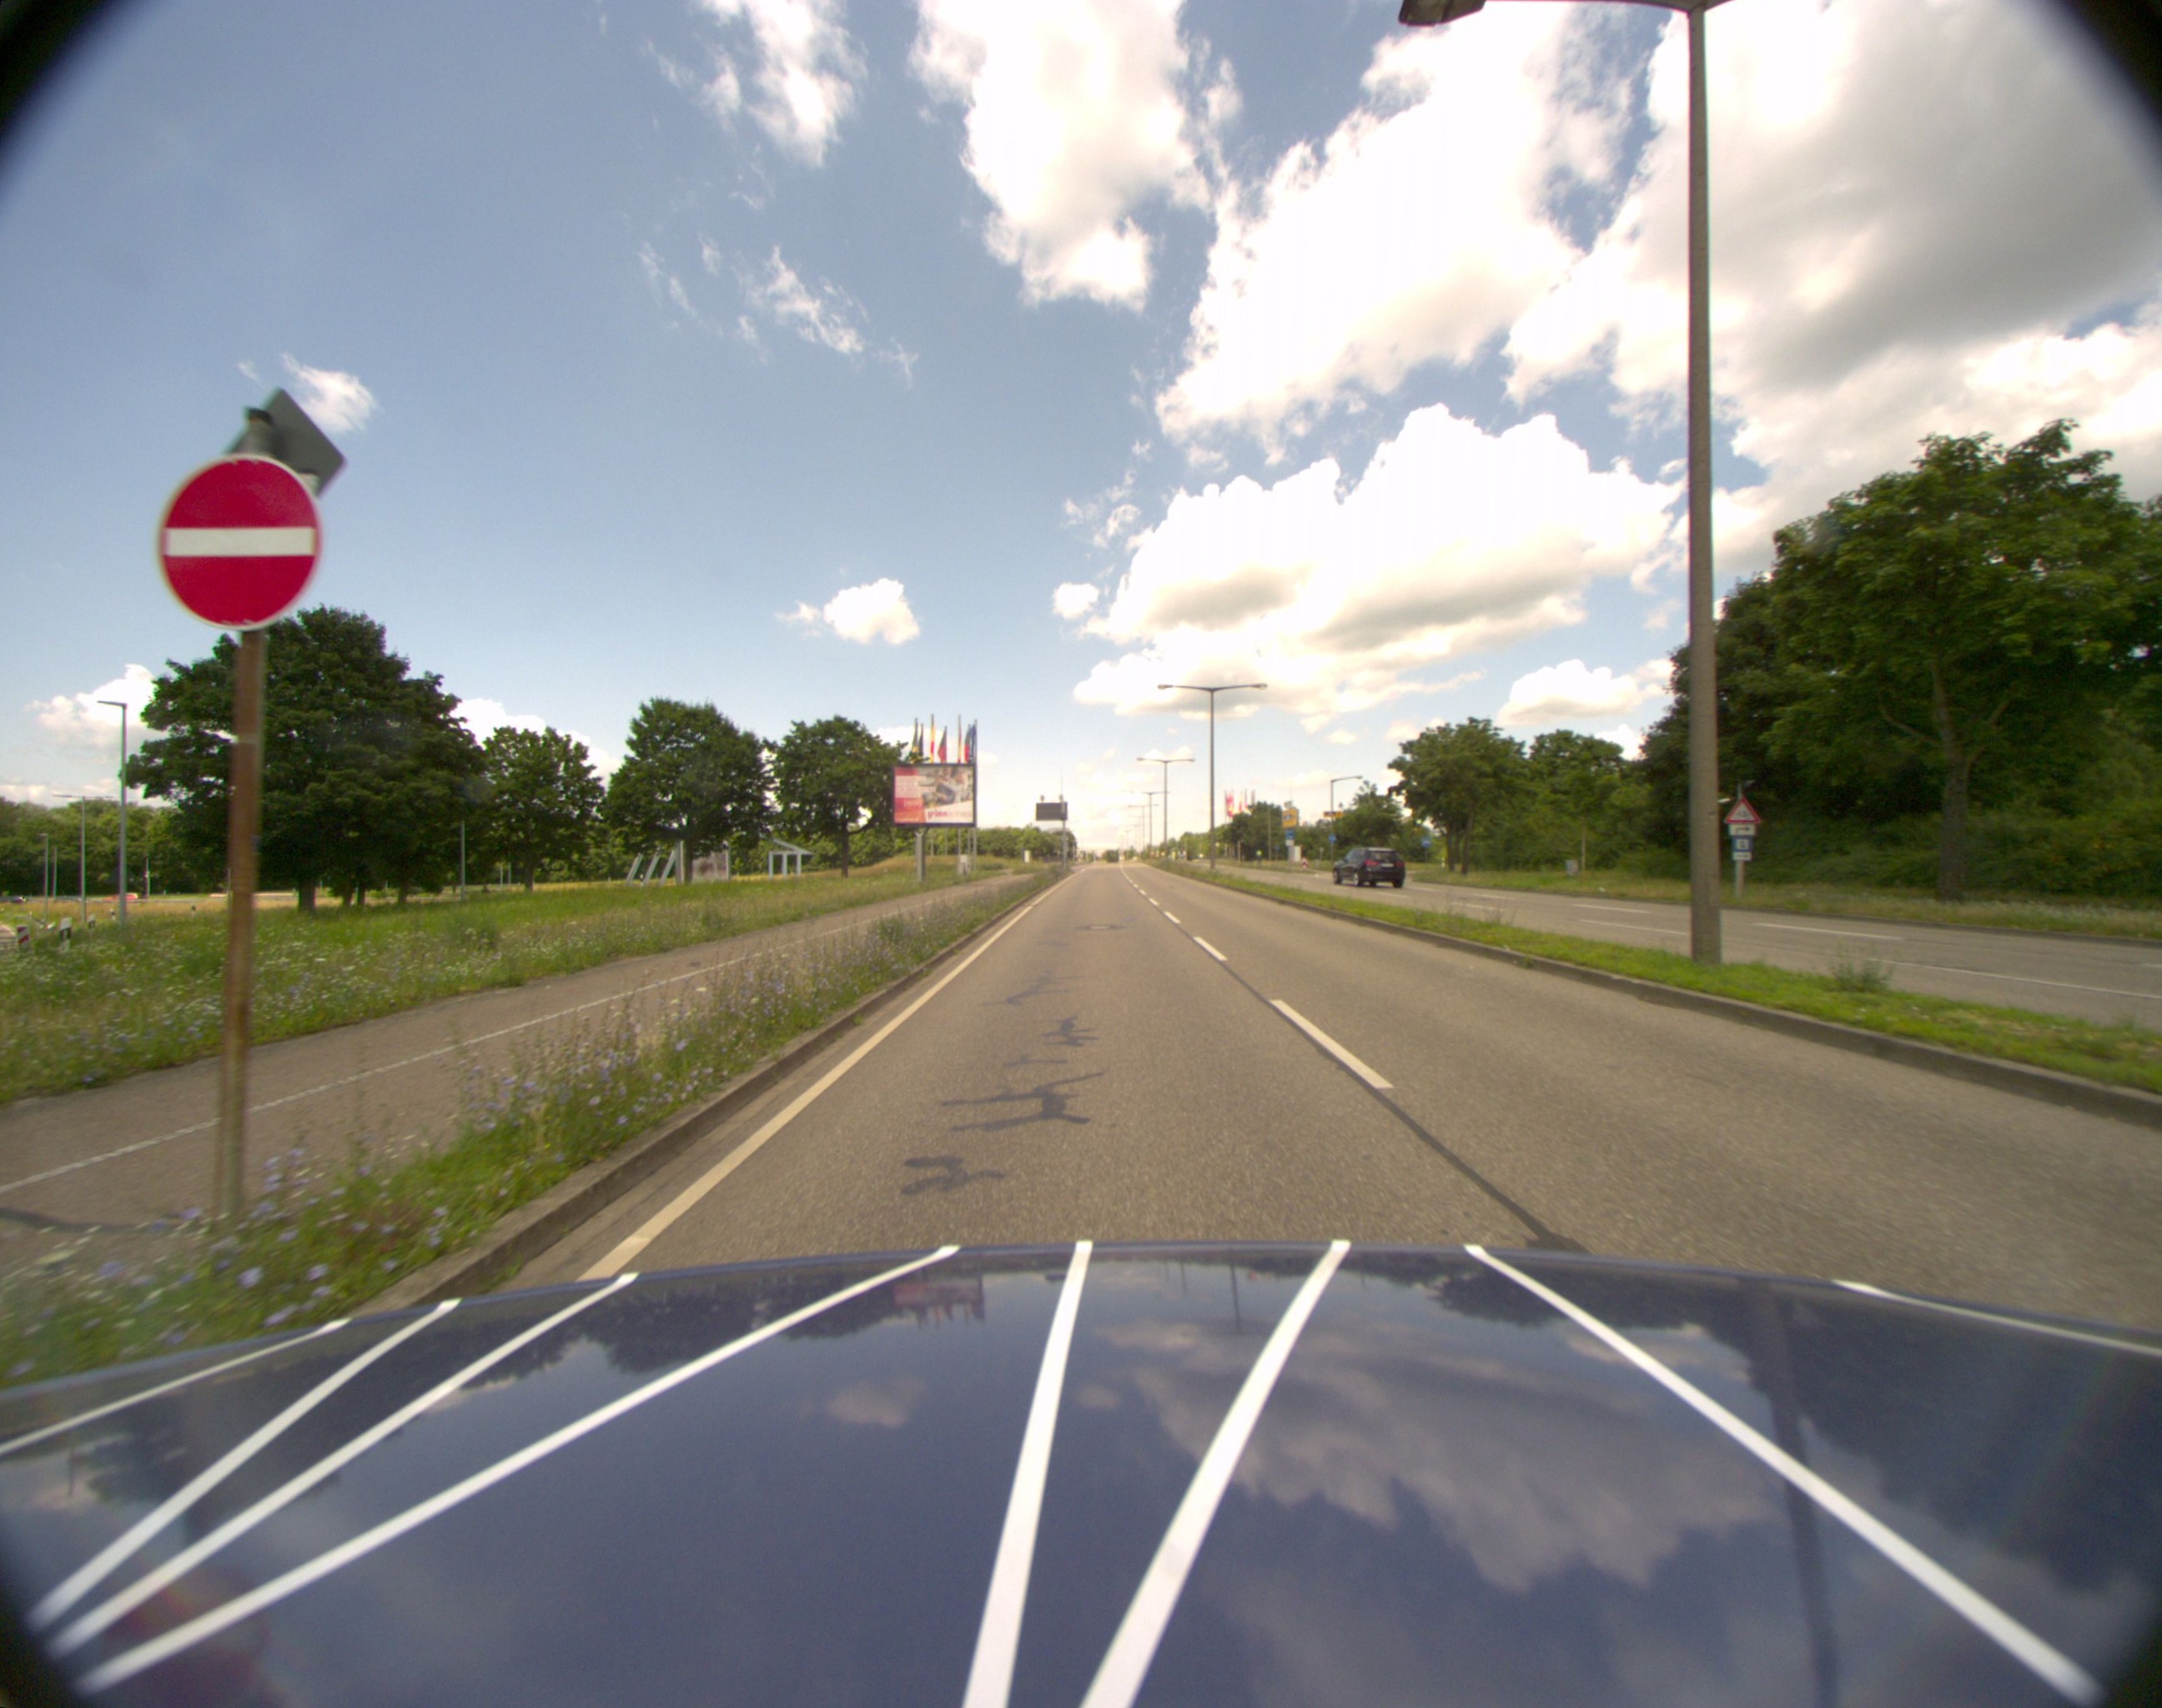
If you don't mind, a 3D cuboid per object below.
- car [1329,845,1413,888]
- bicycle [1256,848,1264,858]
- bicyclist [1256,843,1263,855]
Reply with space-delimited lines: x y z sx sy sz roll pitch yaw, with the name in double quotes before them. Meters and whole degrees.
"car" 12.883 0.505 34.073 1.881 1.780 4.728 1 1 0
"bicycle" 19.955 -0.074 84.688 0.433 1.062 1.908 -2 -1 -1
"bicyclist" 19.940 -0.589 84.775 0.522 1.265 1.107 -2 -1 -1
